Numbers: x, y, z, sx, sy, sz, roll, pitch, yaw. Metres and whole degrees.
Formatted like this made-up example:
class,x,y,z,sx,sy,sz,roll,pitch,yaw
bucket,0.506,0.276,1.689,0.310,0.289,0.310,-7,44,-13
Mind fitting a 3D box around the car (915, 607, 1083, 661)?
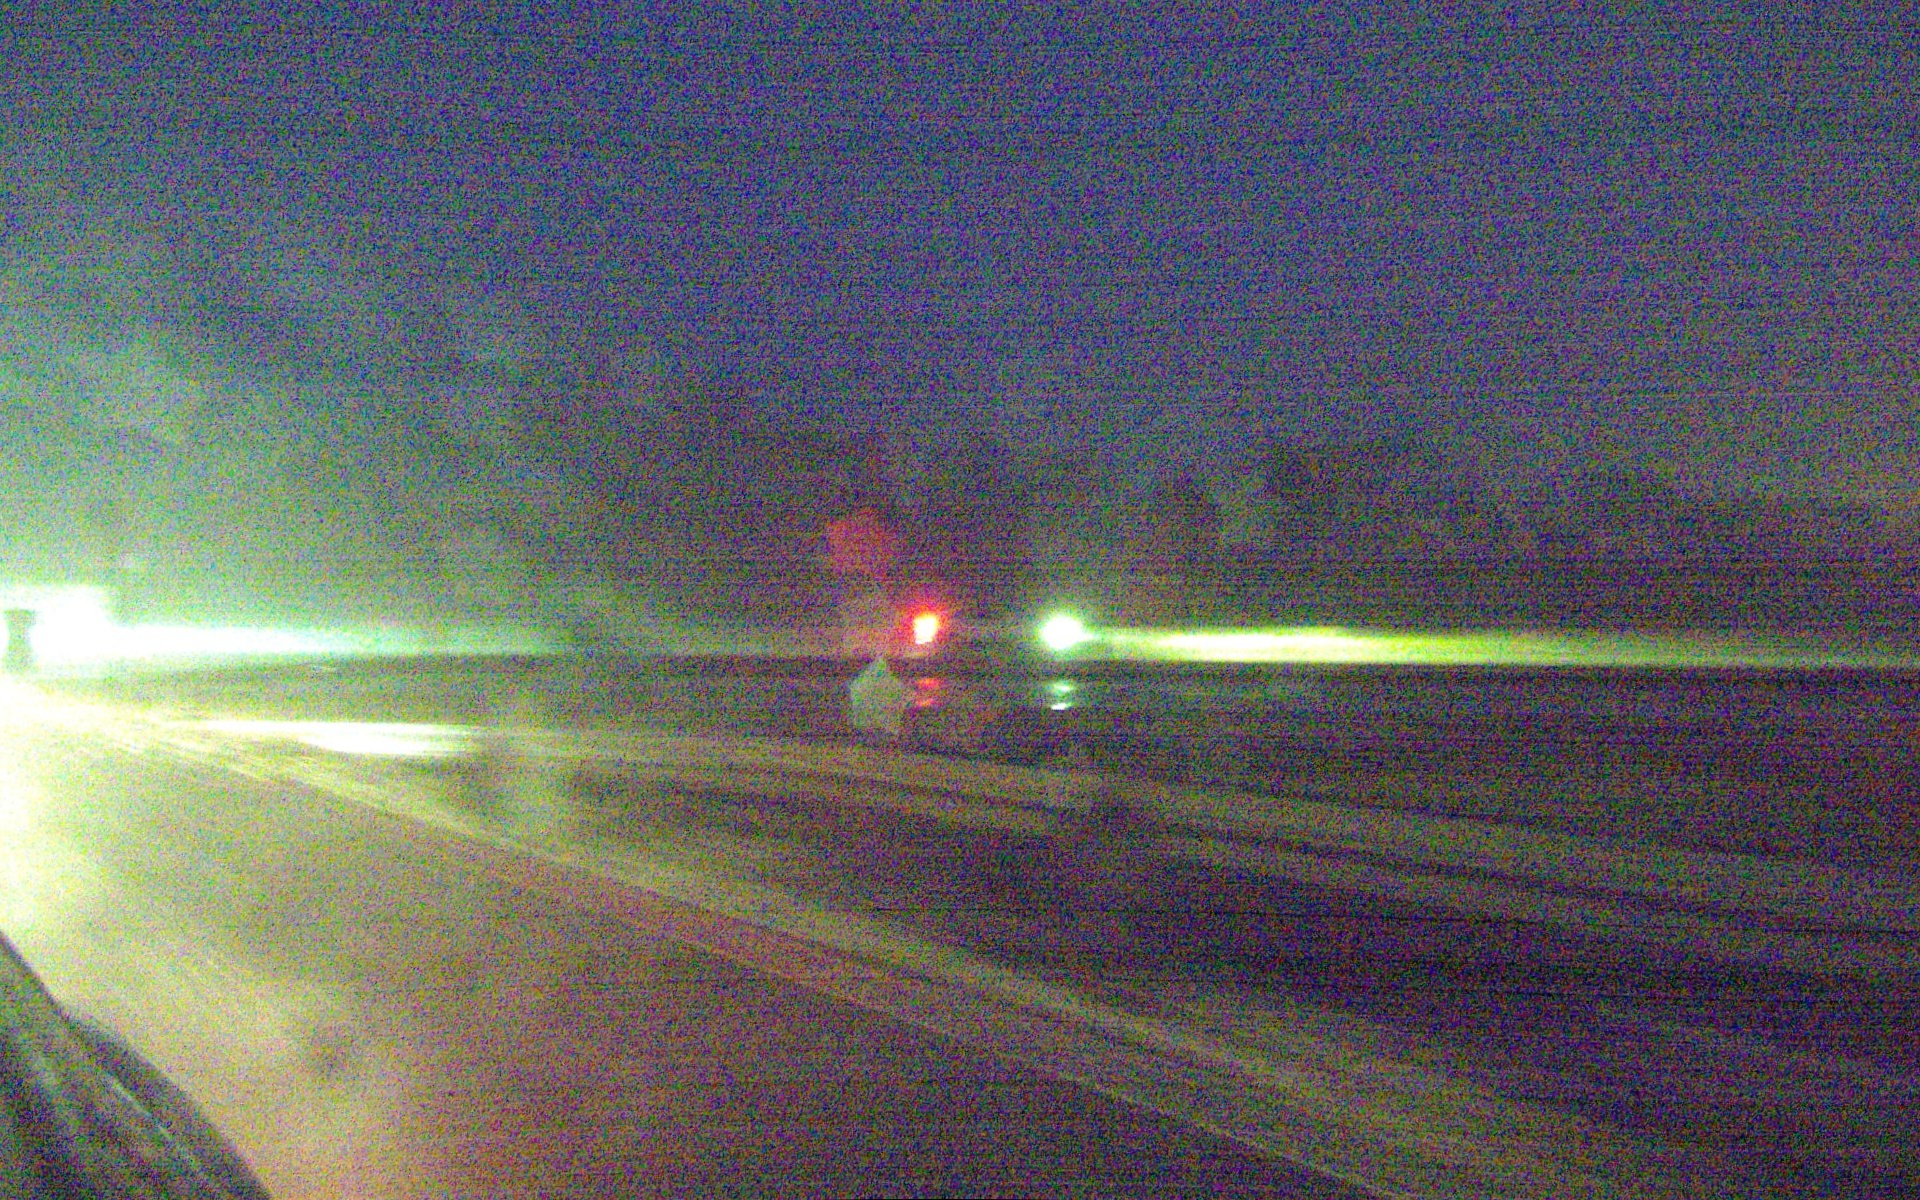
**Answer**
class,x,y,z,sx,sy,sz,roll,pitch,yaw
car,1.194,0.996,30.668,4.823,1.492,1.757,0,2,17
